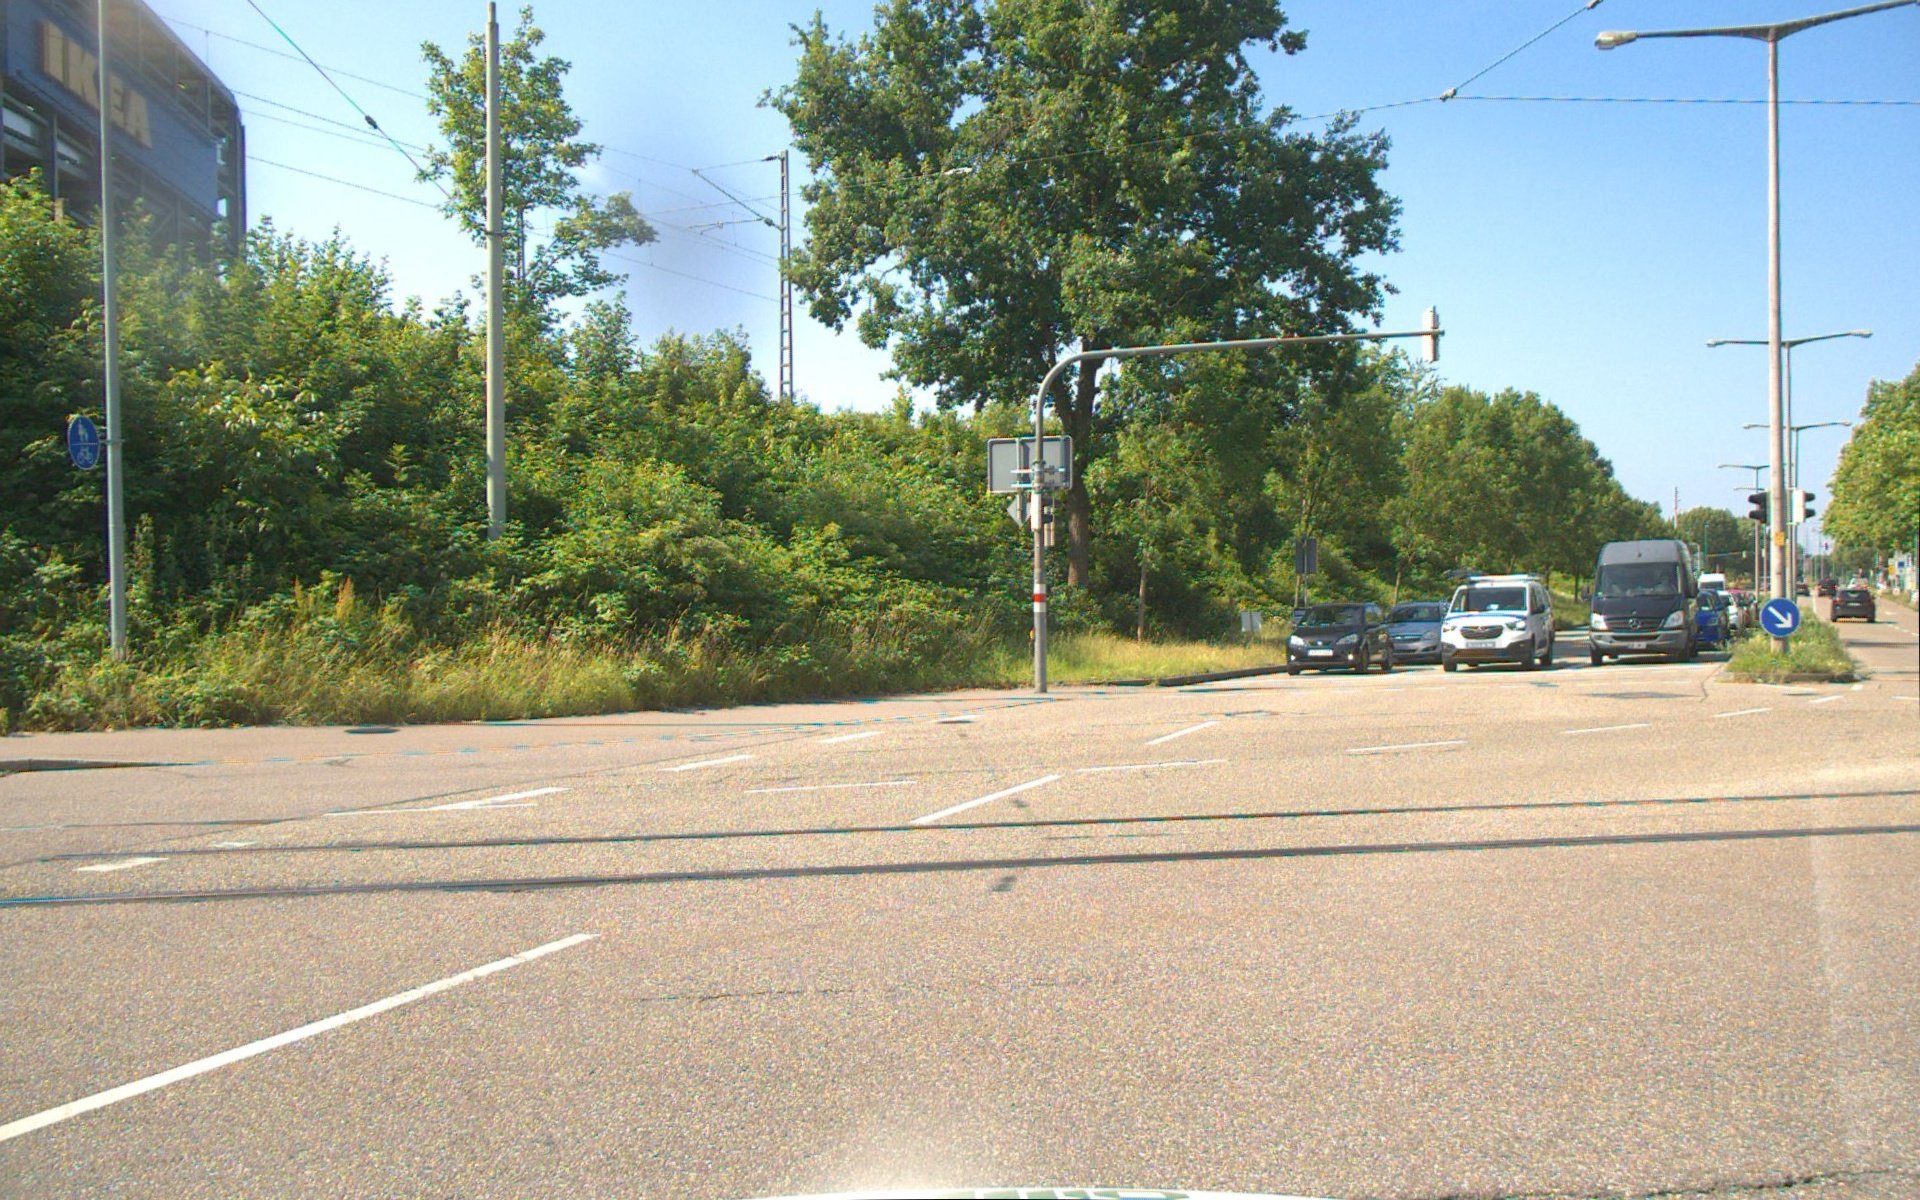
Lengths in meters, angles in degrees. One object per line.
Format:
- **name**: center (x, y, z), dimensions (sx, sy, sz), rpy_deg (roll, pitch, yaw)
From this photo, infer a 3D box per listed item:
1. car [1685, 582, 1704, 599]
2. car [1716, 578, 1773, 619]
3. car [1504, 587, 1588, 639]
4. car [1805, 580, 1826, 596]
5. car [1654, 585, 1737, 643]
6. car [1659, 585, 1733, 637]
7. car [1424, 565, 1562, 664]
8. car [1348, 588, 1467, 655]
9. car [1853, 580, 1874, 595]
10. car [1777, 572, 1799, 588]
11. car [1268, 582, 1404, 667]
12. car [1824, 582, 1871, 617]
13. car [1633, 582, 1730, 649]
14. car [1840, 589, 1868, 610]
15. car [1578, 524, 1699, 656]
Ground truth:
- **car**: center (90.858, -1.206, 204.515), dimensions (1.852, 2.049, 3.995), rpy_deg (2, 1, 27)
- **car**: center (32.653, -0.063, 68.805), dimensions (1.956, 1.612, 3.994), rpy_deg (2, 1, 28)
- **car**: center (19.520, 0.402, 54.975), dimensions (1.955, 1.612, 4.450), rpy_deg (2, 1, 28)
- **car**: center (93.216, -1.313, 180.139), dimensions (1.955, 1.612, 4.450), rpy_deg (2, 1, 28)
- **car**: center (21.903, 0.398, 49.156), dimensions (1.956, 1.612, 3.994), rpy_deg (2, 1, 28)
- **car**: center (24.544, 0.348, 55.090), dimensions (1.956, 1.612, 3.994), rpy_deg (2, 1, 28)
- **car**: center (11.214, 0.295, 34.583), dimensions (1.955, 1.903, 4.767), rpy_deg (-1, -1, 28)
- **car**: center (11.145, 0.521, 40.997), dimensions (1.955, 1.567, 4.230), rpy_deg (-1, -1, 28)
- **car**: center (101.155, -1.430, 185.264), dimensions (1.955, 1.612, 4.450), rpy_deg (2, 1, 28)
- **car**: center (90.675, -2.162, 181.123), dimensions (1.955, 1.612, 4.450), rpy_deg (2, 1, 28)
- **car**: center (7.933, 0.502, 34.667), dimensions (1.874, 1.670, 3.732), rpy_deg (-1, -1, 28)
- **car**: center (43.562, -0.022, 81.211), dimensions (1.955, 1.612, 4.450), rpy_deg (2, 1, 28)
- **car**: center (18.606, 0.387, 42.564), dimensions (1.955, 1.613, 3.994), rpy_deg (-2, -1, 28)
- **car**: center (71.583, -0.024, 132.462), dimensions (1.955, 1.612, 4.450), rpy_deg (2, 1, 28)
- **car**: center (14.817, -0.183, 35.955), dimensions (1.955, 2.653, 5.126), rpy_deg (-1, -1, 28)
